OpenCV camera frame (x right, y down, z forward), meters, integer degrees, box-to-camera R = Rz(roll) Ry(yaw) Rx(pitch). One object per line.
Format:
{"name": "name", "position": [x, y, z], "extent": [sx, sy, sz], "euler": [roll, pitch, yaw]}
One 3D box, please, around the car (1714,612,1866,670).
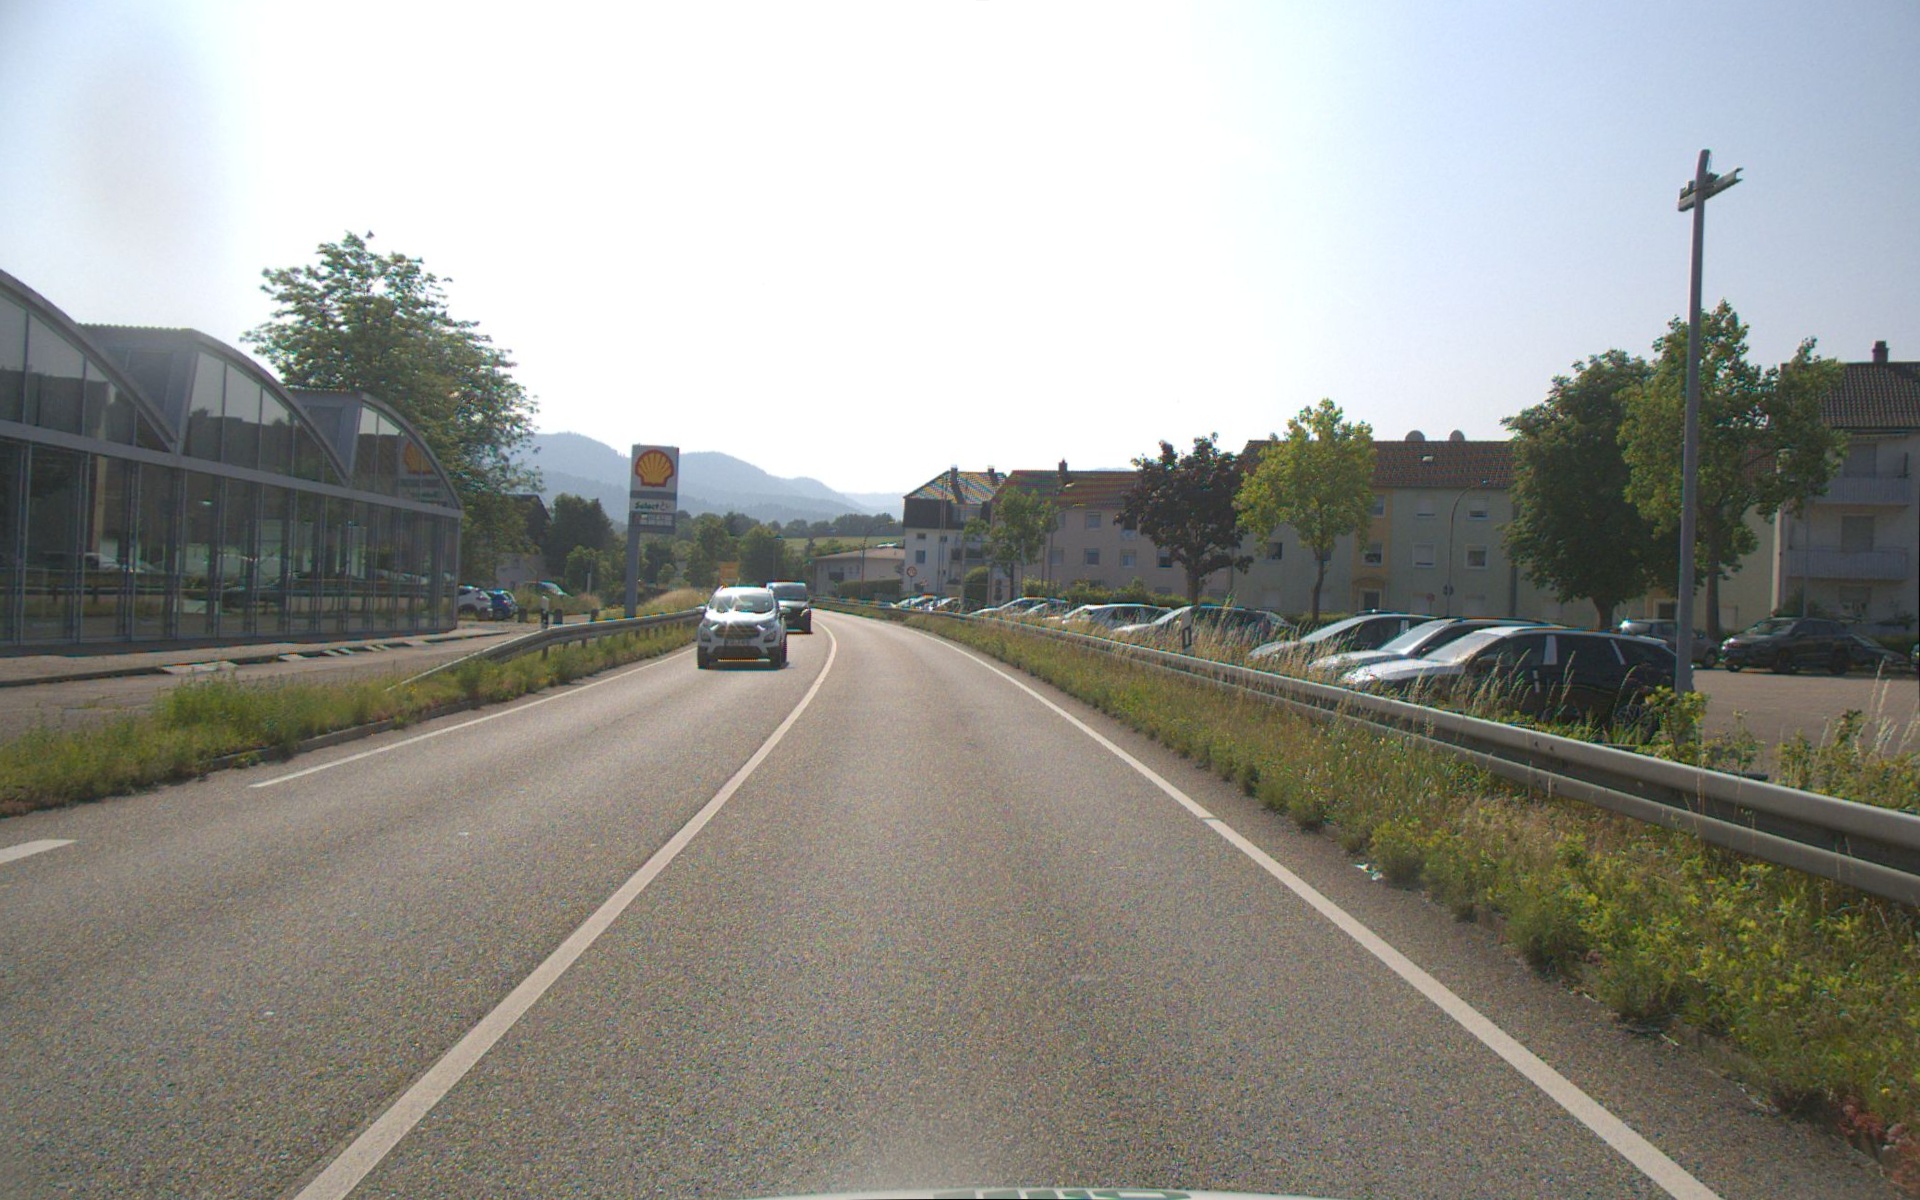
{"name": "car", "position": [24.635, 1.232, 49.052], "extent": [4.430, 1.628, 1.825], "euler": [1, -1, -28]}

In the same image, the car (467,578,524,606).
{"name": "car", "position": [-36.168, -0.644, 128.840], "extent": [4.818, 2.049, 1.988], "euler": [2, 0, 42]}

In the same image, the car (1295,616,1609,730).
{"name": "car", "position": [7.155, 1.041, 24.300], "extent": [4.076, 1.583, 1.770], "euler": [0, 0, -3]}

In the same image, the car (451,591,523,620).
{"name": "car", "position": [-26.619, 0.312, 93.198], "extent": [3.677, 1.485, 1.858], "euler": [1, 0, -9]}

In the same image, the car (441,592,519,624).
{"name": "car", "position": [-25.287, 0.409, 87.207], "extent": [3.678, 1.526, 1.928], "euler": [2, -1, -9]}

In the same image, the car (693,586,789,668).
{"name": "car", "position": [-4.647, 0.550, 35.619], "extent": [1.757, 1.658, 4.224], "euler": [0, 0, -4]}

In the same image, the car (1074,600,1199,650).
{"name": "car", "position": [5.898, 0.837, 55.403], "extent": [3.909, 1.548, 1.696], "euler": [1, -1, -5]}

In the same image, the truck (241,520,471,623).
{"name": "truck", "position": [-23.195, -1.016, 64.014], "extent": [2.750, 3.619, 8.181], "euler": [2, 0, 35]}

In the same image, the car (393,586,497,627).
{"name": "car", "position": [-23.546, 0.306, 75.785], "extent": [4.272, 1.684, 1.927], "euler": [2, -1, -11]}

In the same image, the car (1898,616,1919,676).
{"name": "car", "position": [27.405, 1.262, 43.935], "extent": [4.552, 1.548, 1.853], "euler": [1, -1, -20]}

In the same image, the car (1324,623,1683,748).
{"name": "car", "position": [6.958, 1.072, 21.431], "extent": [4.076, 1.517, 1.731], "euler": [0, 0, -3]}

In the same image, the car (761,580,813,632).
{"name": "car", "position": [-6.589, 0.216, 63.042], "extent": [1.877, 1.918, 4.904], "euler": [0, 0, -6]}

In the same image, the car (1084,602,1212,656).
{"name": "car", "position": [5.952, 0.915, 52.563], "extent": [3.771, 1.595, 1.806], "euler": [1, -1, -4]}

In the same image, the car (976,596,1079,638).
{"name": "car", "position": [2.873, 0.733, 71.137], "extent": [4.234, 1.668, 2.138], "euler": [1, 0, -4]}

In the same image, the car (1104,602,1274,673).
{"name": "car", "position": [5.690, 0.928, 41.423], "extent": [3.908, 1.668, 1.886], "euler": [1, -1, -4]}

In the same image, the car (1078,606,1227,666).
{"name": "car", "position": [5.483, 1.024, 47.426], "extent": [3.912, 1.607, 1.775], "euler": [1, -1, -9]}

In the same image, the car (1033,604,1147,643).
{"name": "car", "position": [5.130, 0.925, 65.428], "extent": [4.237, 1.469, 1.626], "euler": [1, -1, -7]}

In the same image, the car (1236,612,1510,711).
{"name": "car", "position": [6.748, 0.985, 27.297], "extent": [4.076, 1.572, 1.740], "euler": [0, 0, -3]}

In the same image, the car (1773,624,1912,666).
{"name": "car", "position": [27.924, 1.400, 52.416], "extent": [1.574, 1.207, 3.622], "euler": [2, 0, -32]}

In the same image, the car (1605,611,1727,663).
{"name": "car", "position": [22.258, 1.183, 52.112], "extent": [3.714, 1.548, 1.640], "euler": [1, 0, -30]}

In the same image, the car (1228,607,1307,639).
{"name": "car", "position": [13.979, 1.033, 75.346], "extent": [1.632, 1.390, 3.629], "euler": [1, 0, -28]}
